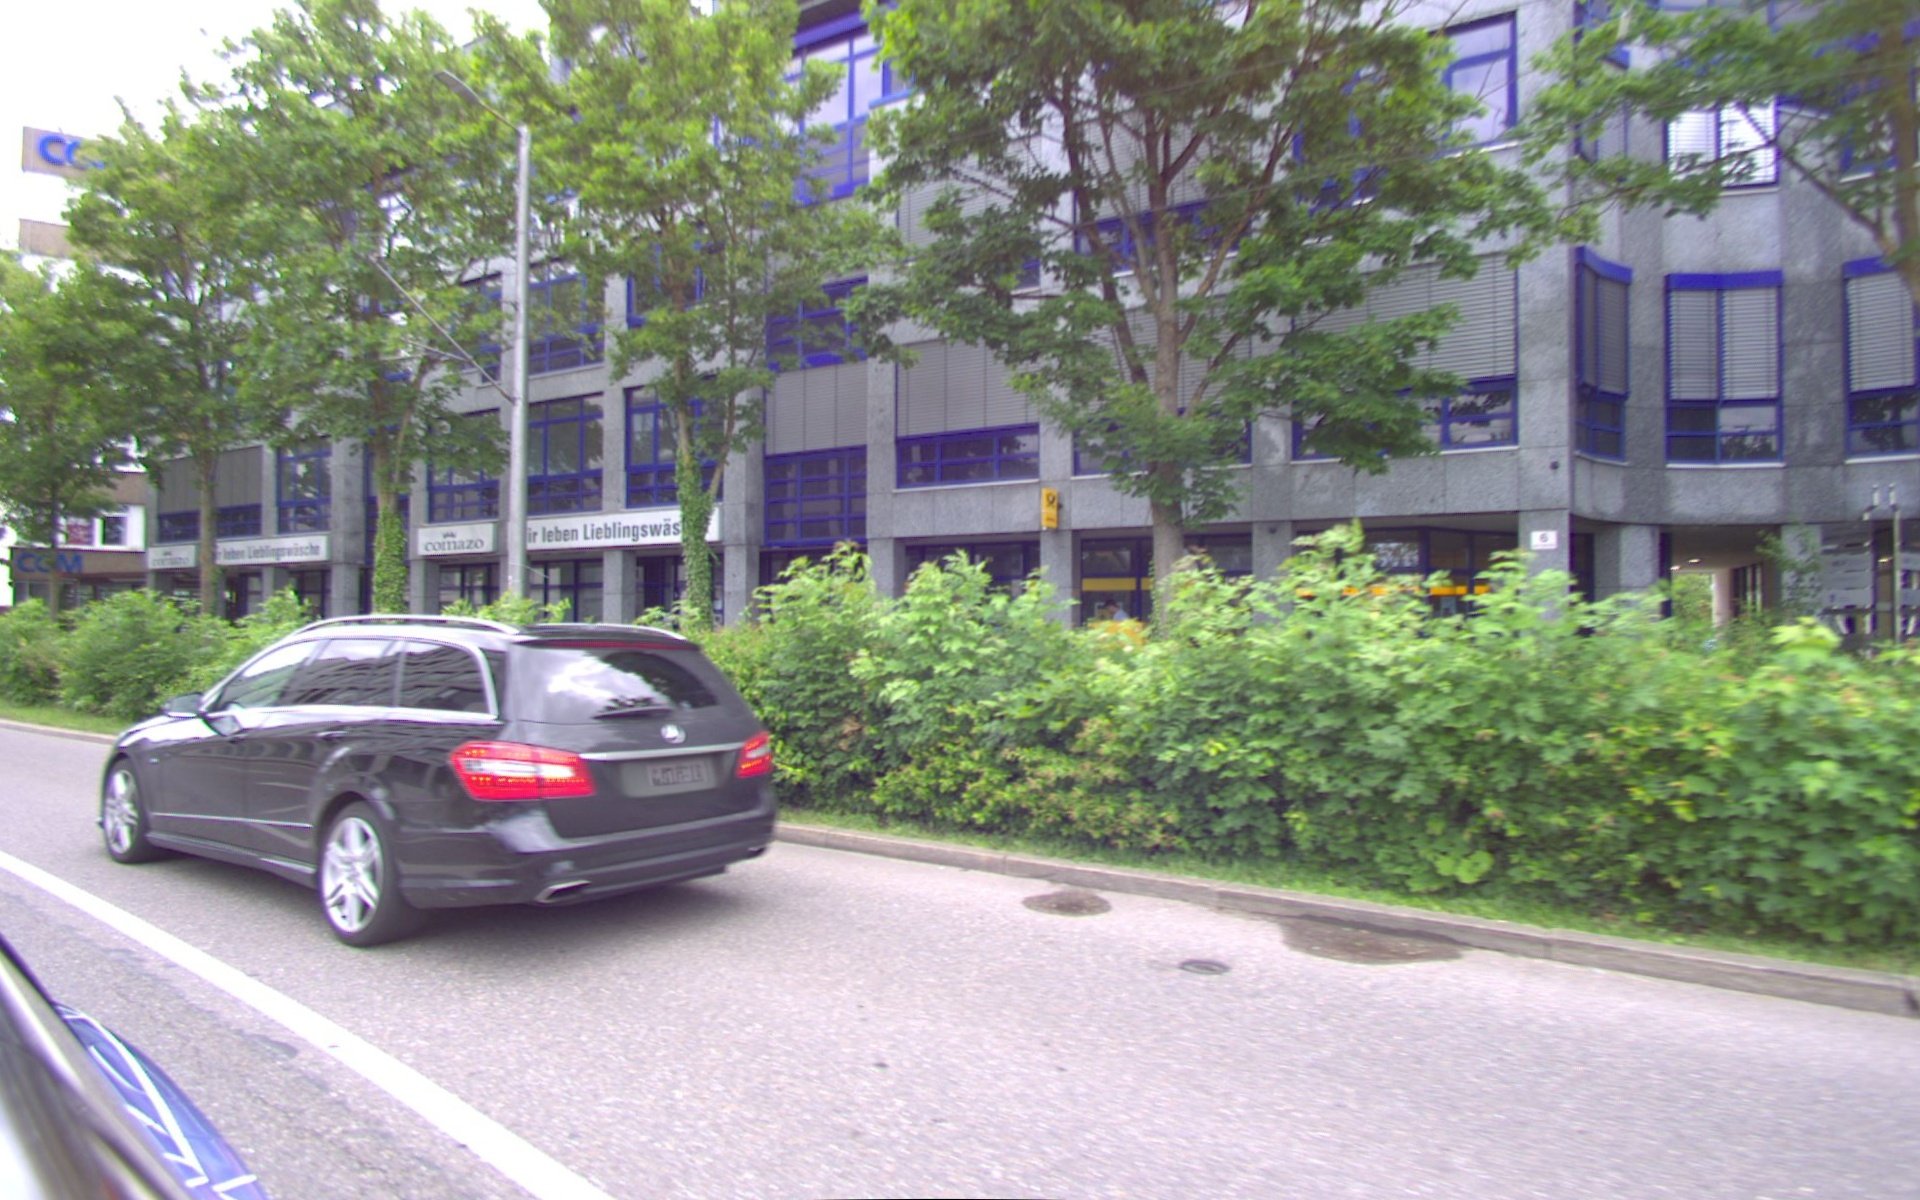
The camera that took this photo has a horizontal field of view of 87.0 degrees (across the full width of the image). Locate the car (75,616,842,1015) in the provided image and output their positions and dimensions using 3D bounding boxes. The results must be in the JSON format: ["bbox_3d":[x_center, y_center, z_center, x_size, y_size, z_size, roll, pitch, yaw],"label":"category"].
[{"bbox_3d":[-3.063,0.837,5.782,4.693,1.447,1.830,-1,-3,34],"label":"car"}]

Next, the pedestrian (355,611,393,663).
[{"bbox_3d":[-17.058,1.066,29.473,0.676,1.493,0.692,-1,0,29],"label":"pedestrian"}]

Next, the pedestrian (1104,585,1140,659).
[{"bbox_3d":[2.998,0.408,18.723,0.555,1.344,0.363,-1,1,25],"label":"pedestrian"}]
